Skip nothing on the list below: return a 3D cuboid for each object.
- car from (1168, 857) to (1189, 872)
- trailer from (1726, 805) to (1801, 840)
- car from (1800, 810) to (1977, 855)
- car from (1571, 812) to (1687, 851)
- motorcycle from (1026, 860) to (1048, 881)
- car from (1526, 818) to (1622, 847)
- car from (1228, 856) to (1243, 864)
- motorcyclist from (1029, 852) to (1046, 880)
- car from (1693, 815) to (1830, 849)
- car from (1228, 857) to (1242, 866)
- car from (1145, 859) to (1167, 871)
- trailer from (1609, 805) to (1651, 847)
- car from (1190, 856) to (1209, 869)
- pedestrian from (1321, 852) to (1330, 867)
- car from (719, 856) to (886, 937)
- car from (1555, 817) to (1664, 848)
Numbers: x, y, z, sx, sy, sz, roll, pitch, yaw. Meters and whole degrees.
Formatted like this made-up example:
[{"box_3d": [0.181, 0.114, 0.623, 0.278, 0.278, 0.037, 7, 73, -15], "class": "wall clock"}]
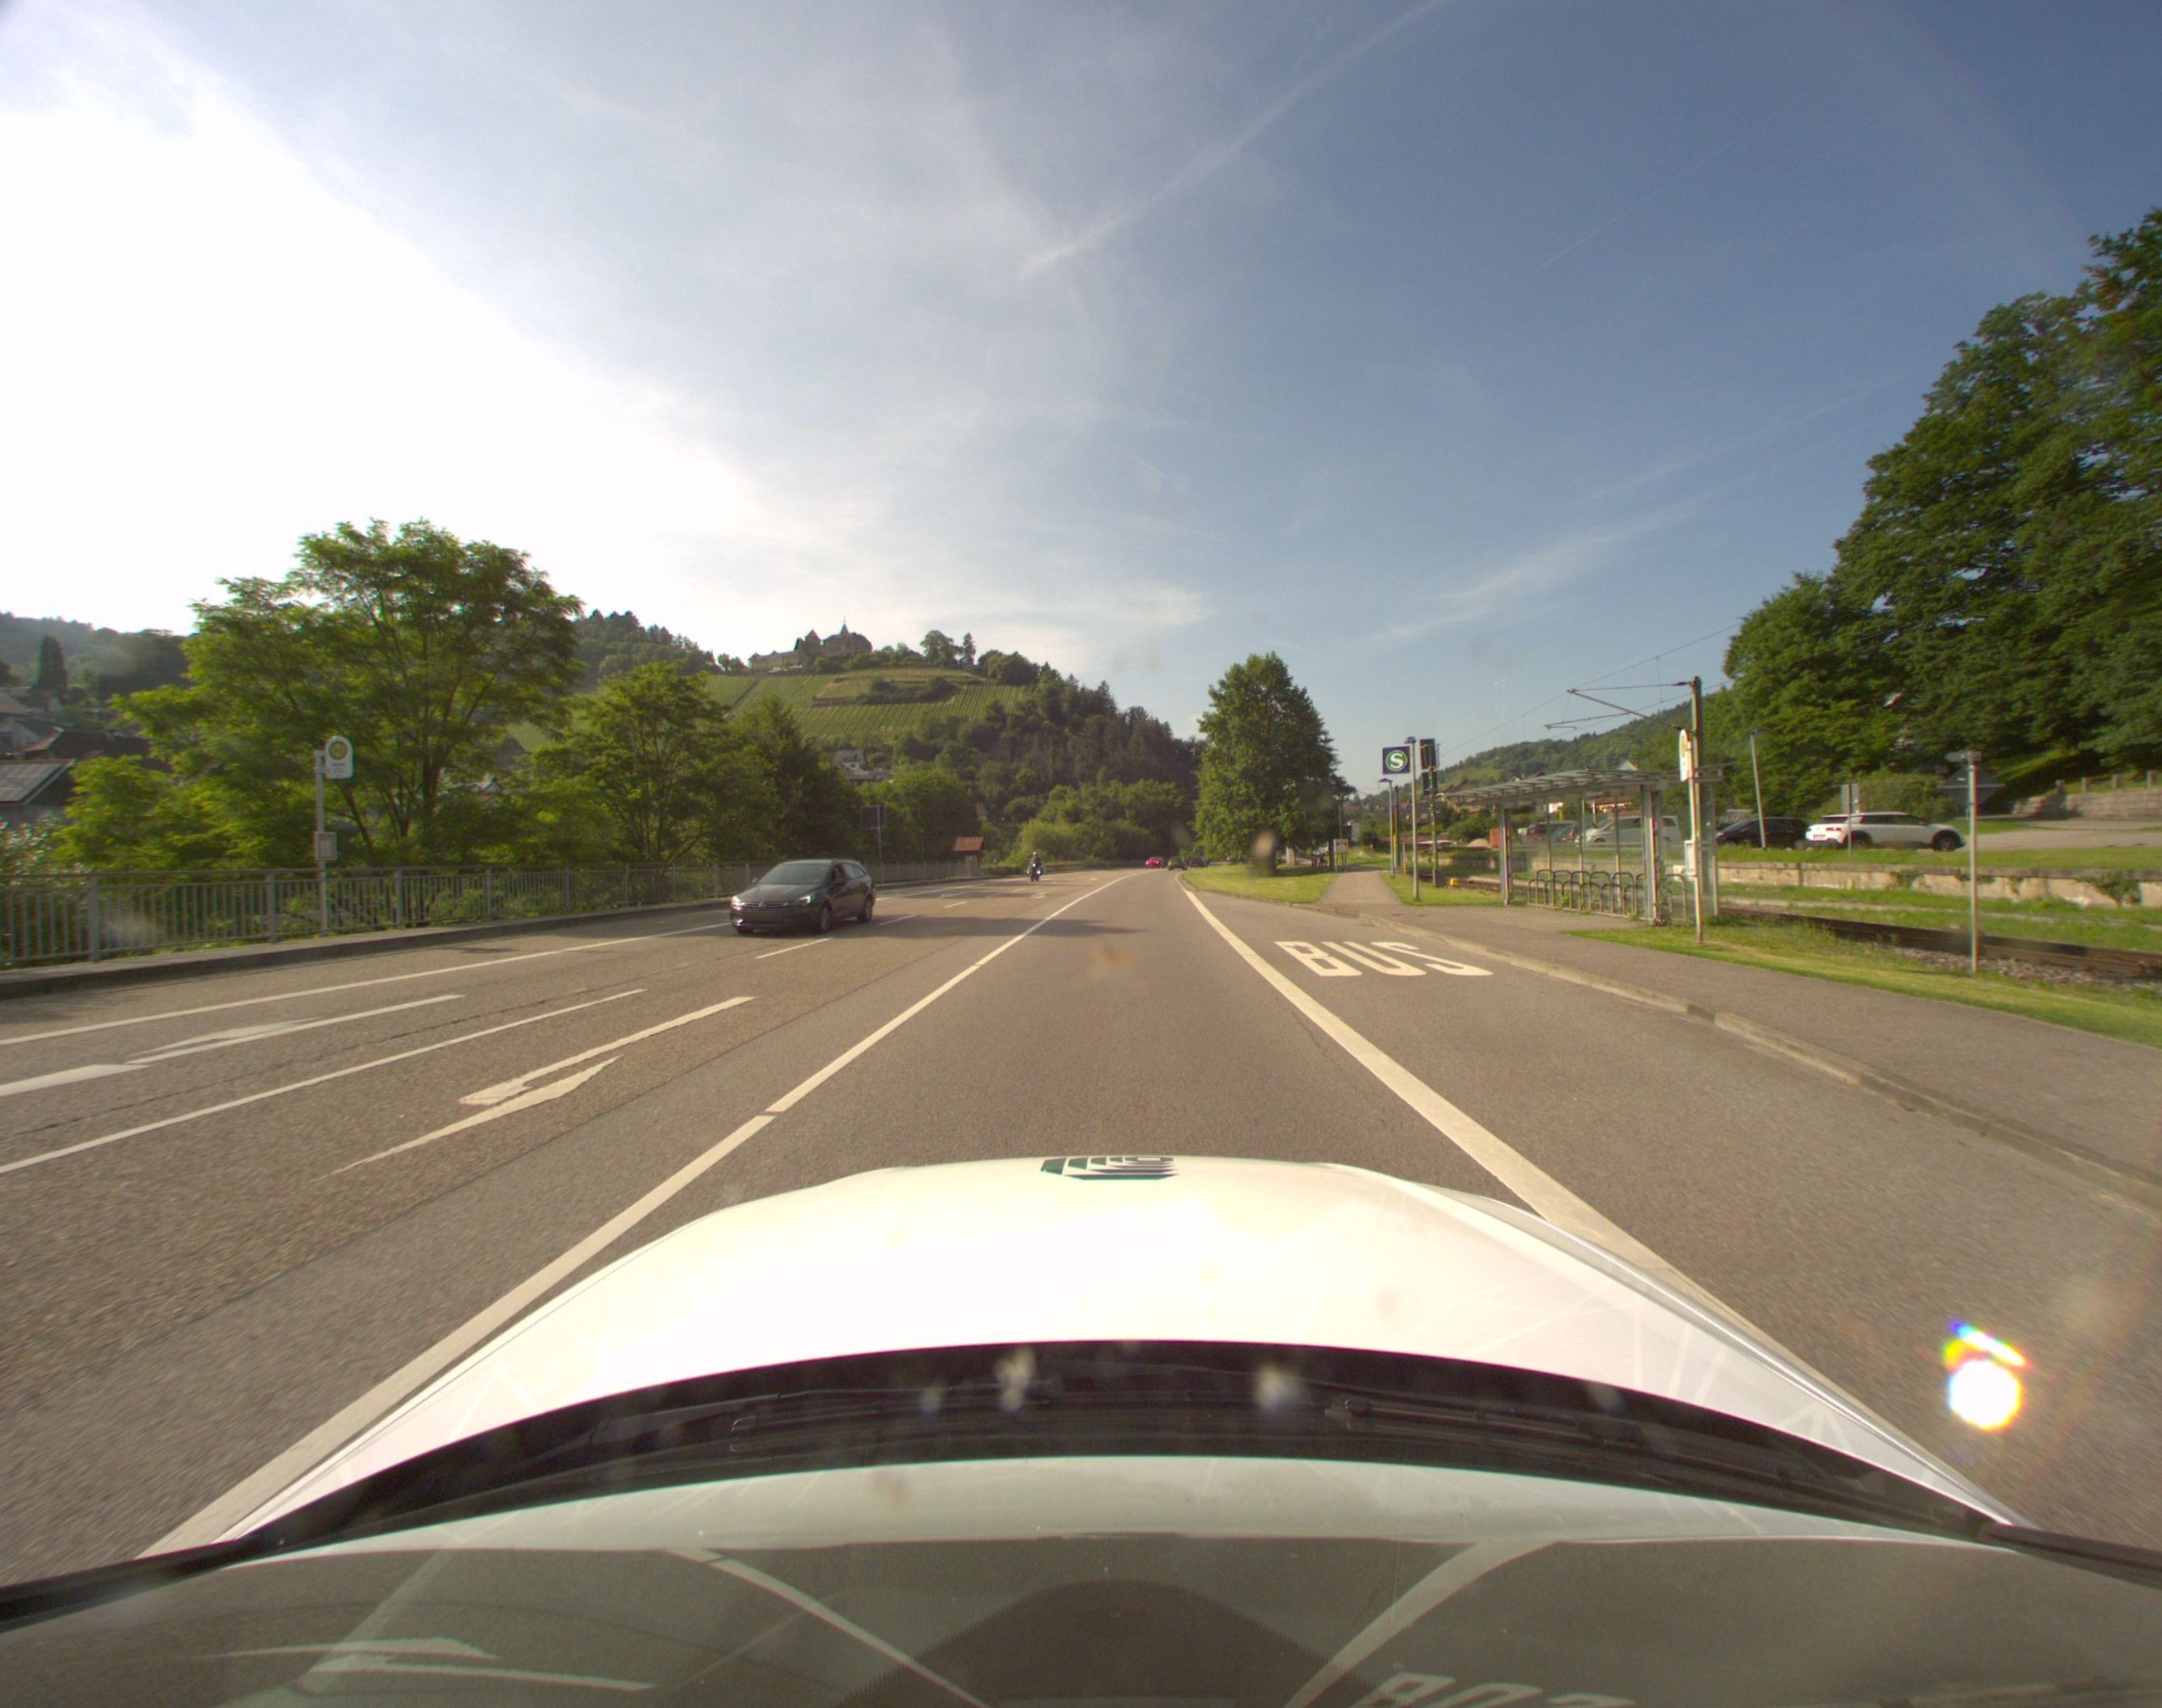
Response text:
[{"box_3d": [10.582, 1.110, 88.357, 1.716, 1.457, 3.423, -3, -1, 13], "class": "car"}, {"box_3d": [47.658, -2.193, 56.971, 3.657, 2.189, 1.829, -3, -1, 28], "class": "trailer"}, {"box_3d": [27.872, -0.720, 28.241, 4.071, 1.398, 1.814, -2, 0, 9], "class": "car"}, {"box_3d": [30.441, -1.215, 45.388, 4.921, 1.943, 2.147, -2, 0, 9], "class": "car"}, {"box_3d": [-2.762, 1.026, 51.213, 0.968, 1.221, 2.576, 0, 0, 5], "class": "motorcycle"}, {"box_3d": [31.942, -1.355, 52.868, 4.921, 1.690, 1.941, -2, 0, 9], "class": "car"}, {"box_3d": [29.378, 1.067, 155.104, 1.678, 1.402, 4.226, -1, 0, 26], "class": "car"}, {"box_3d": [-2.743, 0.749, 51.332, 0.840, 1.784, 1.173, -1, 0, 5], "class": "motorcyclist"}, {"box_3d": [29.545, -0.931, 35.475, 4.239, 1.343, 1.836, -2, 0, 9], "class": "car"}, {"box_3d": [26.719, 1.332, 141.509, 1.791, 1.453, 3.665, -4, -1, 20], "class": "car"}, {"box_3d": [9.561, 1.411, 103.604, 1.661, 1.460, 4.224, -1, 0, 22], "class": "car"}, {"box_3d": [55.424, -2.761, 82.350, 2.582, 3.893, 7.780, -4, -1, 29], "class": "trailer"}, {"box_3d": [15.579, 1.119, 106.860, 1.826, 1.459, 3.729, -3, -1, 17], "class": "car"}, {"box_3d": [19.558, 0.408, 65.187, 0.630, 1.161, 0.730, -3, -1, 18], "class": "pedestrian"}, {"box_3d": [-5.766, 0.794, 17.583, 1.778, 1.479, 4.756, -1, 0, 2], "class": "car"}, {"box_3d": [30.877, -1.245, 47.755, 4.921, 1.587, 2.147, -2, 0, 9], "class": "car"}]
